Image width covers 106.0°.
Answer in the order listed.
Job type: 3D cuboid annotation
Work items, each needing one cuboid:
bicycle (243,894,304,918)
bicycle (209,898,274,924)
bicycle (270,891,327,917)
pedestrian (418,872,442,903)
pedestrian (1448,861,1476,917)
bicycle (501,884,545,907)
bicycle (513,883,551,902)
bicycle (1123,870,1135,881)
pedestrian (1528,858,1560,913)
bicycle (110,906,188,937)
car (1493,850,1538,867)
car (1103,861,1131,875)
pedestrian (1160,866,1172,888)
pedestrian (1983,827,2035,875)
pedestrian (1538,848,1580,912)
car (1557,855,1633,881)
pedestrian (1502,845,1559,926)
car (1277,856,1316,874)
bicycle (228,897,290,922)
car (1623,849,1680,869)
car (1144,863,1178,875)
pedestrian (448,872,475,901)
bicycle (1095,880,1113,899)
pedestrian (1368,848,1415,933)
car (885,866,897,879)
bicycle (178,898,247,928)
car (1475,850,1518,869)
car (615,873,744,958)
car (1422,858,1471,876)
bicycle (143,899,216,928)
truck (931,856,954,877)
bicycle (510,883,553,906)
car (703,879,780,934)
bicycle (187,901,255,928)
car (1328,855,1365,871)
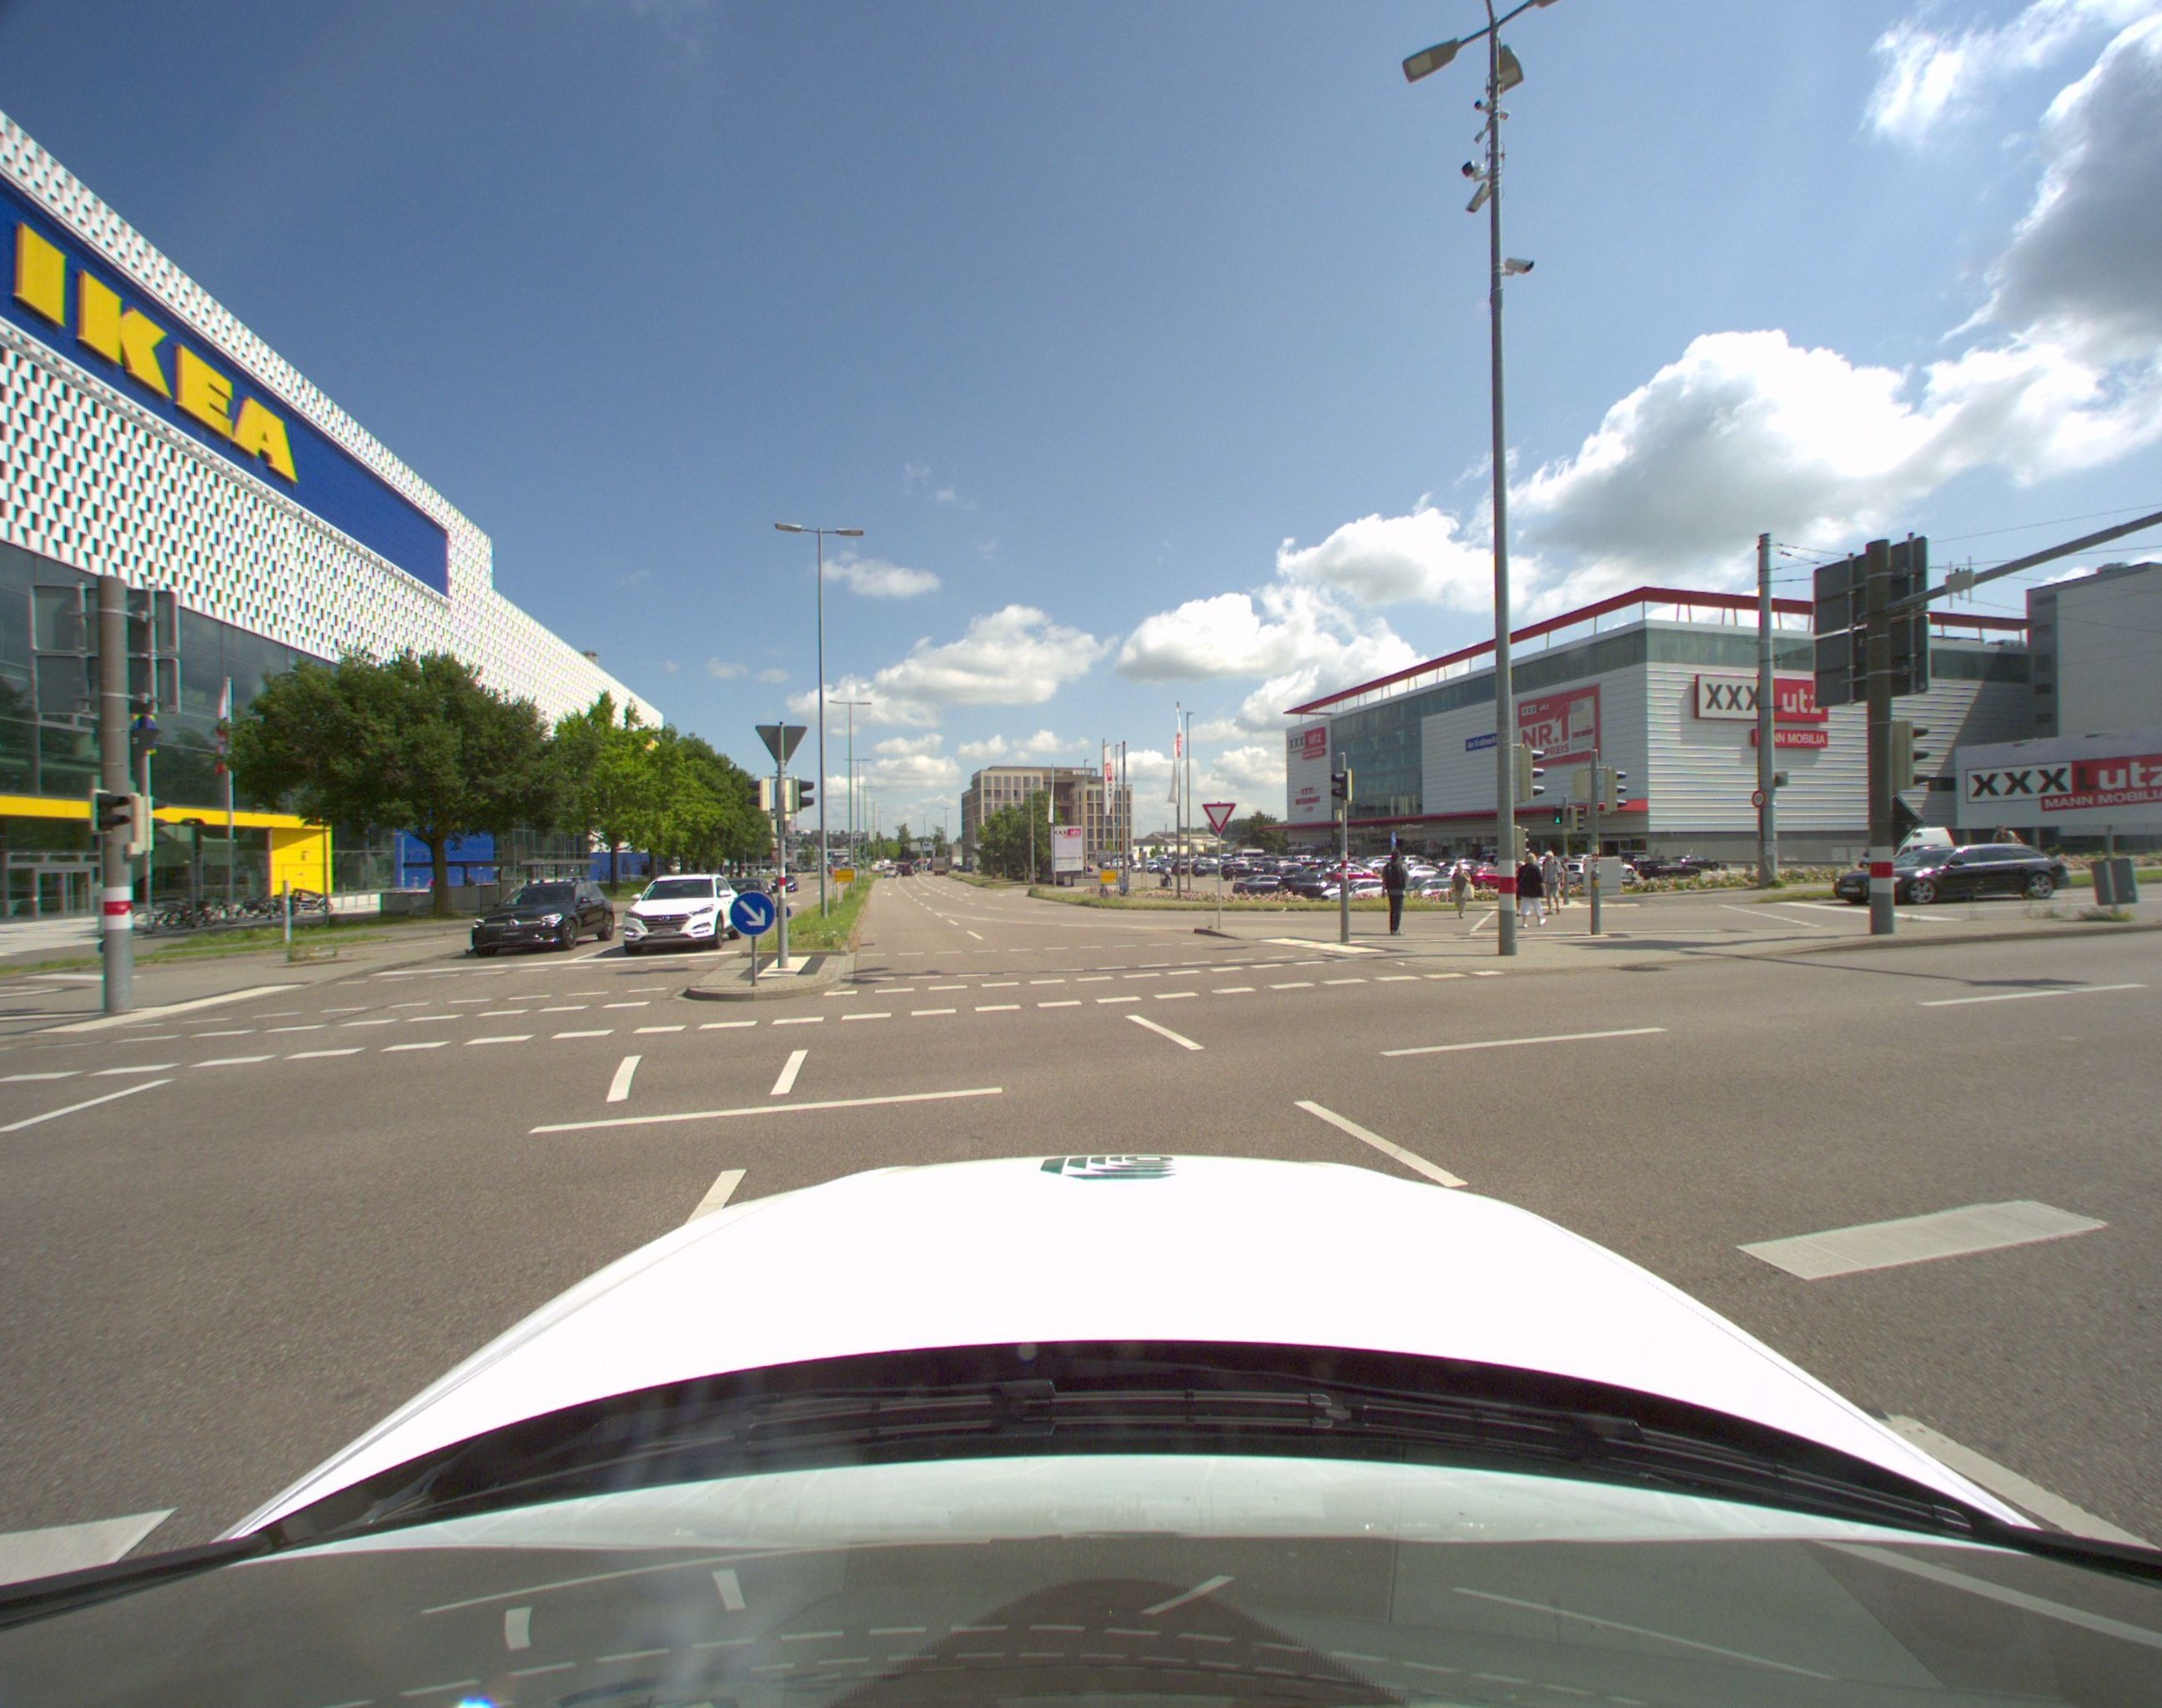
[{"bbox_3d":[-37.795,2.441,38.140,1.939,1.070,0.525,0,-2,-19],"label":"bicycle"},{"bbox_3d":[-37.086,2.495,35.997,1.939,1.070,0.525,0,-2,-19],"label":"bicycle"},{"bbox_3d":[-38.201,2.453,39.794,1.939,1.210,0.525,0,-2,-19],"label":"bicycle"},{"bbox_3d":[-38.012,1.948,47.539,0.755,1.823,0.882,1,-2,-14],"label":"pedestrian"},{"bbox_3d":[10.518,0.957,22.474,0.554,1.524,0.468,0,-1,-6],"label":"pedestrian"},{"bbox_3d":[-31.552,2.352,46.103,1.928,1.273,0.626,0,-1,-15],"label":"bicycle"},{"bbox_3d":[-35.231,2.476,52.263,1.928,1.184,0.626,0,-1,-15],"label":"bicycle"},{"bbox_3d":[5.032,2.280,85.518,0.624,1.068,1.959,-1,0,-13],"label":"bicycle"},{"bbox_3d":[13.032,0.884,22.910,0.583,1.524,0.468,-2,0,-6],"label":"pedestrian"},{"bbox_3d":[-35.764,2.583,31.275,1.939,1.070,0.525,0,-2,-19],"label":"bicycle"},{"bbox_3d":[46.520,0.503,87.236,3.995,1.723,1.989,0,0,-16],"label":"car"},{"bbox_3d":[5.556,2.162,126.092,3.992,2.013,1.991,-2,0,-14],"label":"car"},{"bbox_3d":[7.039,1.899,67.466,0.862,1.782,0.787,0,-1,16],"label":"pedestrian"},{"bbox_3d":[31.087,-0.084,27.285,0.941,1.592,0.704,0,-1,-3],"label":"pedestrian"},{"bbox_3d":[13.231,0.728,22.554,0.685,1.728,0.700,-1,-2,-3],"label":"pedestrian"},{"bbox_3d":[33.052,0.857,52.348,4.235,1.587,1.842,-1,0,-18],"label":"car"},{"bbox_3d":[10.171,0.706,18.460,0.854,1.765,0.869,-3,-1,13],"label":"pedestrian"},{"bbox_3d":[25.550,1.299,96.456,3.992,2.014,1.991,0,-1,-14],"label":"car"},{"bbox_3d":[-37.406,2.525,37.065,1.935,1.089,0.517,0,-1,-19],"label":"bicycle"},{"bbox_3d":[50.610,0.447,72.211,3.990,1.739,1.992,0,0,-12],"label":"car"},{"bbox_3d":[10.501,1.991,106.816,3.996,1.571,1.989,0,-2,-17],"label":"car"},{"bbox_3d":[-36.467,1.907,47.971,0.951,1.703,0.882,1,-2,-14],"label":"pedestrian"},{"bbox_3d":[1.182,1.832,42.087,0.518,0.952,1.536,0,-2,-14],"label":"bicycle"},{"bbox_3d":[6.745,0.779,17.714,0.813,1.802,0.762,-2,-1,13],"label":"pedestrian"},{"bbox_3d":[-30.834,2.954,131.953,1.858,2.018,3.981,1,-1,-14],"label":"car"},{"bbox_3d":[-36.283,2.460,34.052,1.961,1.172,0.465,0,-1,-19],"label":"bicycle"},{"bbox_3d":[45.814,0.638,89.825,3.995,2.014,1.989,0,-1,-16],"label":"car"},{"bbox_3d":[-9.005,1.315,18.629,1.710,1.620,4.356,-2,-2,-14],"label":"car"},{"bbox_3d":[34.278,1.177,76.357,4.022,1.587,1.686,0,0,-16],"label":"car"},{"bbox_3d":[-36.219,2.386,32.744,1.939,1.070,0.525,0,-2,-19],"label":"bicycle"},{"bbox_3d":[-27.485,2.440,162.264,3.120,3.940,8.854,0,0,-1],"label":"truck"},{"bbox_3d":[-31.774,2.357,47.120,1.928,1.273,0.626,0,-1,-15],"label":"bicycle"},{"bbox_3d":[-10.539,1.561,25.503,1.606,1.493,4.111,-2,-1,-15],"label":"car"},{"bbox_3d":[-36.476,2.565,34.570,1.939,1.070,0.525,0,-2,-19],"label":"bicycle"},{"bbox_3d":[32.641,1.124,100.109,3.993,2.014,1.990,0,-1,-15],"label":"car"}]
